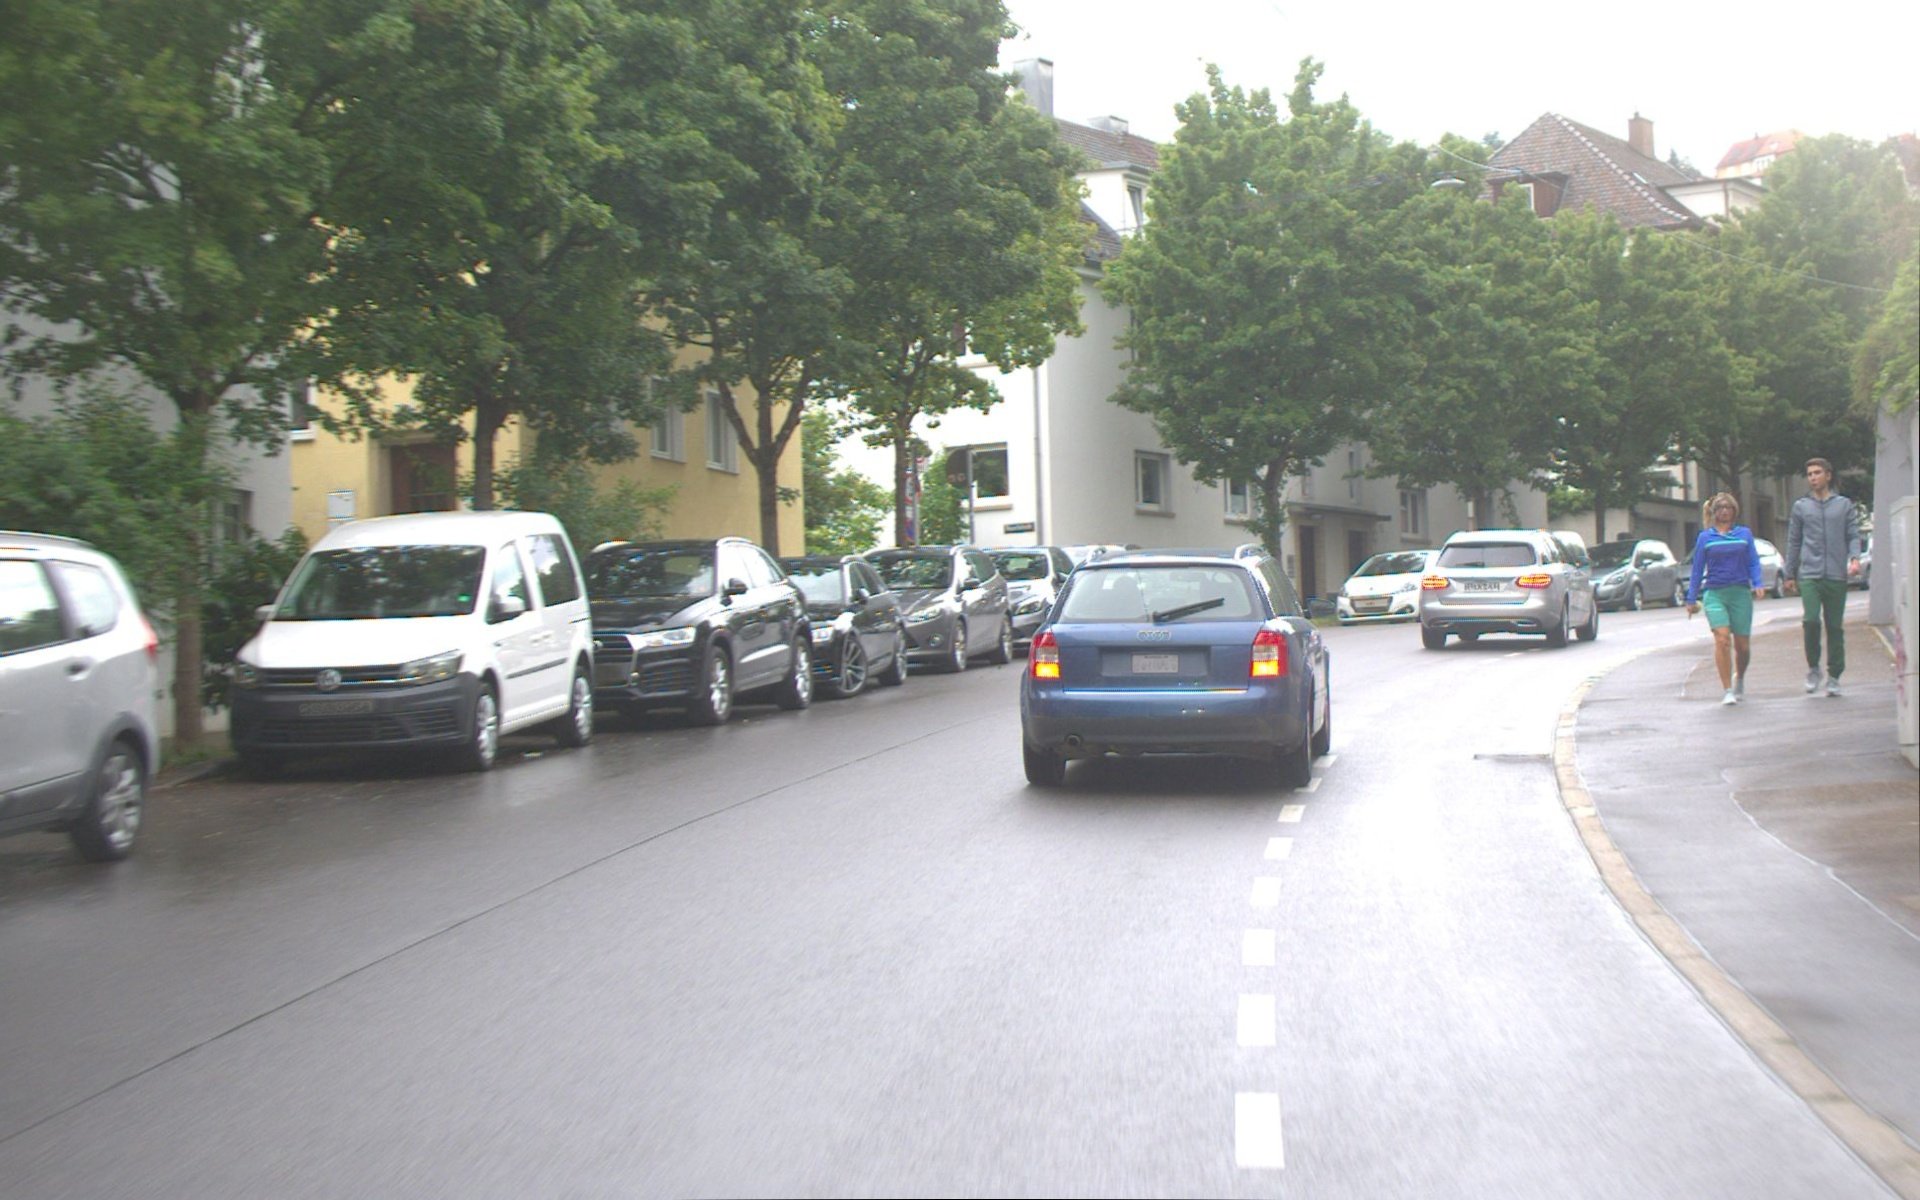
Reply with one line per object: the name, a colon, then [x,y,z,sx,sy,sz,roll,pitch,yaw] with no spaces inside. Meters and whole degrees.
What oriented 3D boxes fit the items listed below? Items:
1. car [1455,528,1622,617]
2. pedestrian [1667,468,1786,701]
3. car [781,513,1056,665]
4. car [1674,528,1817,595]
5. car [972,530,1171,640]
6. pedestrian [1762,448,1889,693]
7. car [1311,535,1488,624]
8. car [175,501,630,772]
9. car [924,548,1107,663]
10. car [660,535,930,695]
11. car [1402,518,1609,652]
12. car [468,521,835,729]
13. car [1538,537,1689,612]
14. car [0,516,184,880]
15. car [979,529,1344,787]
car: [11.974,-0.551,70.966,1.787,1.640,4.338,-5,-3,32]
pedestrian: [5.978,-0.119,26.845,0.775,1.752,1.011,-3,0,10]
car: [-0.421,-0.172,40.942,1.855,1.684,4.551,-1,1,18]
car: [18.140,-0.867,79.253,1.808,1.448,4.588,-1,0,31]
car: [1.698,-0.239,50.693,1.776,1.535,4.513,-1,1,17]
pedestrian: [6.716,-0.230,26.720,0.776,1.826,1.251,-3,0,10]
car: [8.443,-0.375,65.794,1.787,1.509,4.339,-5,-3,29]
car: [-3.924,0.207,25.033,1.854,1.770,4.481,-1,1,10]
car: [0.789,0.044,45.866,1.615,1.392,4.321,-2,1,12]
car: [-1.614,0.103,35.440,1.854,1.493,4.739,-1,1,9]
car: [6.978,-0.240,43.644,1.952,1.556,4.260,1,2,18]
car: [-2.621,0.169,30.411,1.855,1.662,4.585,-2,1,13]
car: [14.332,-0.547,75.251,1.807,1.481,4.228,-5,-2,31]
car: [-5.338,0.472,15.949,1.747,1.684,4.598,-1,1,10]
car: [1.391,0.302,21.896,1.854,1.409,4.360,-3,1,9]
